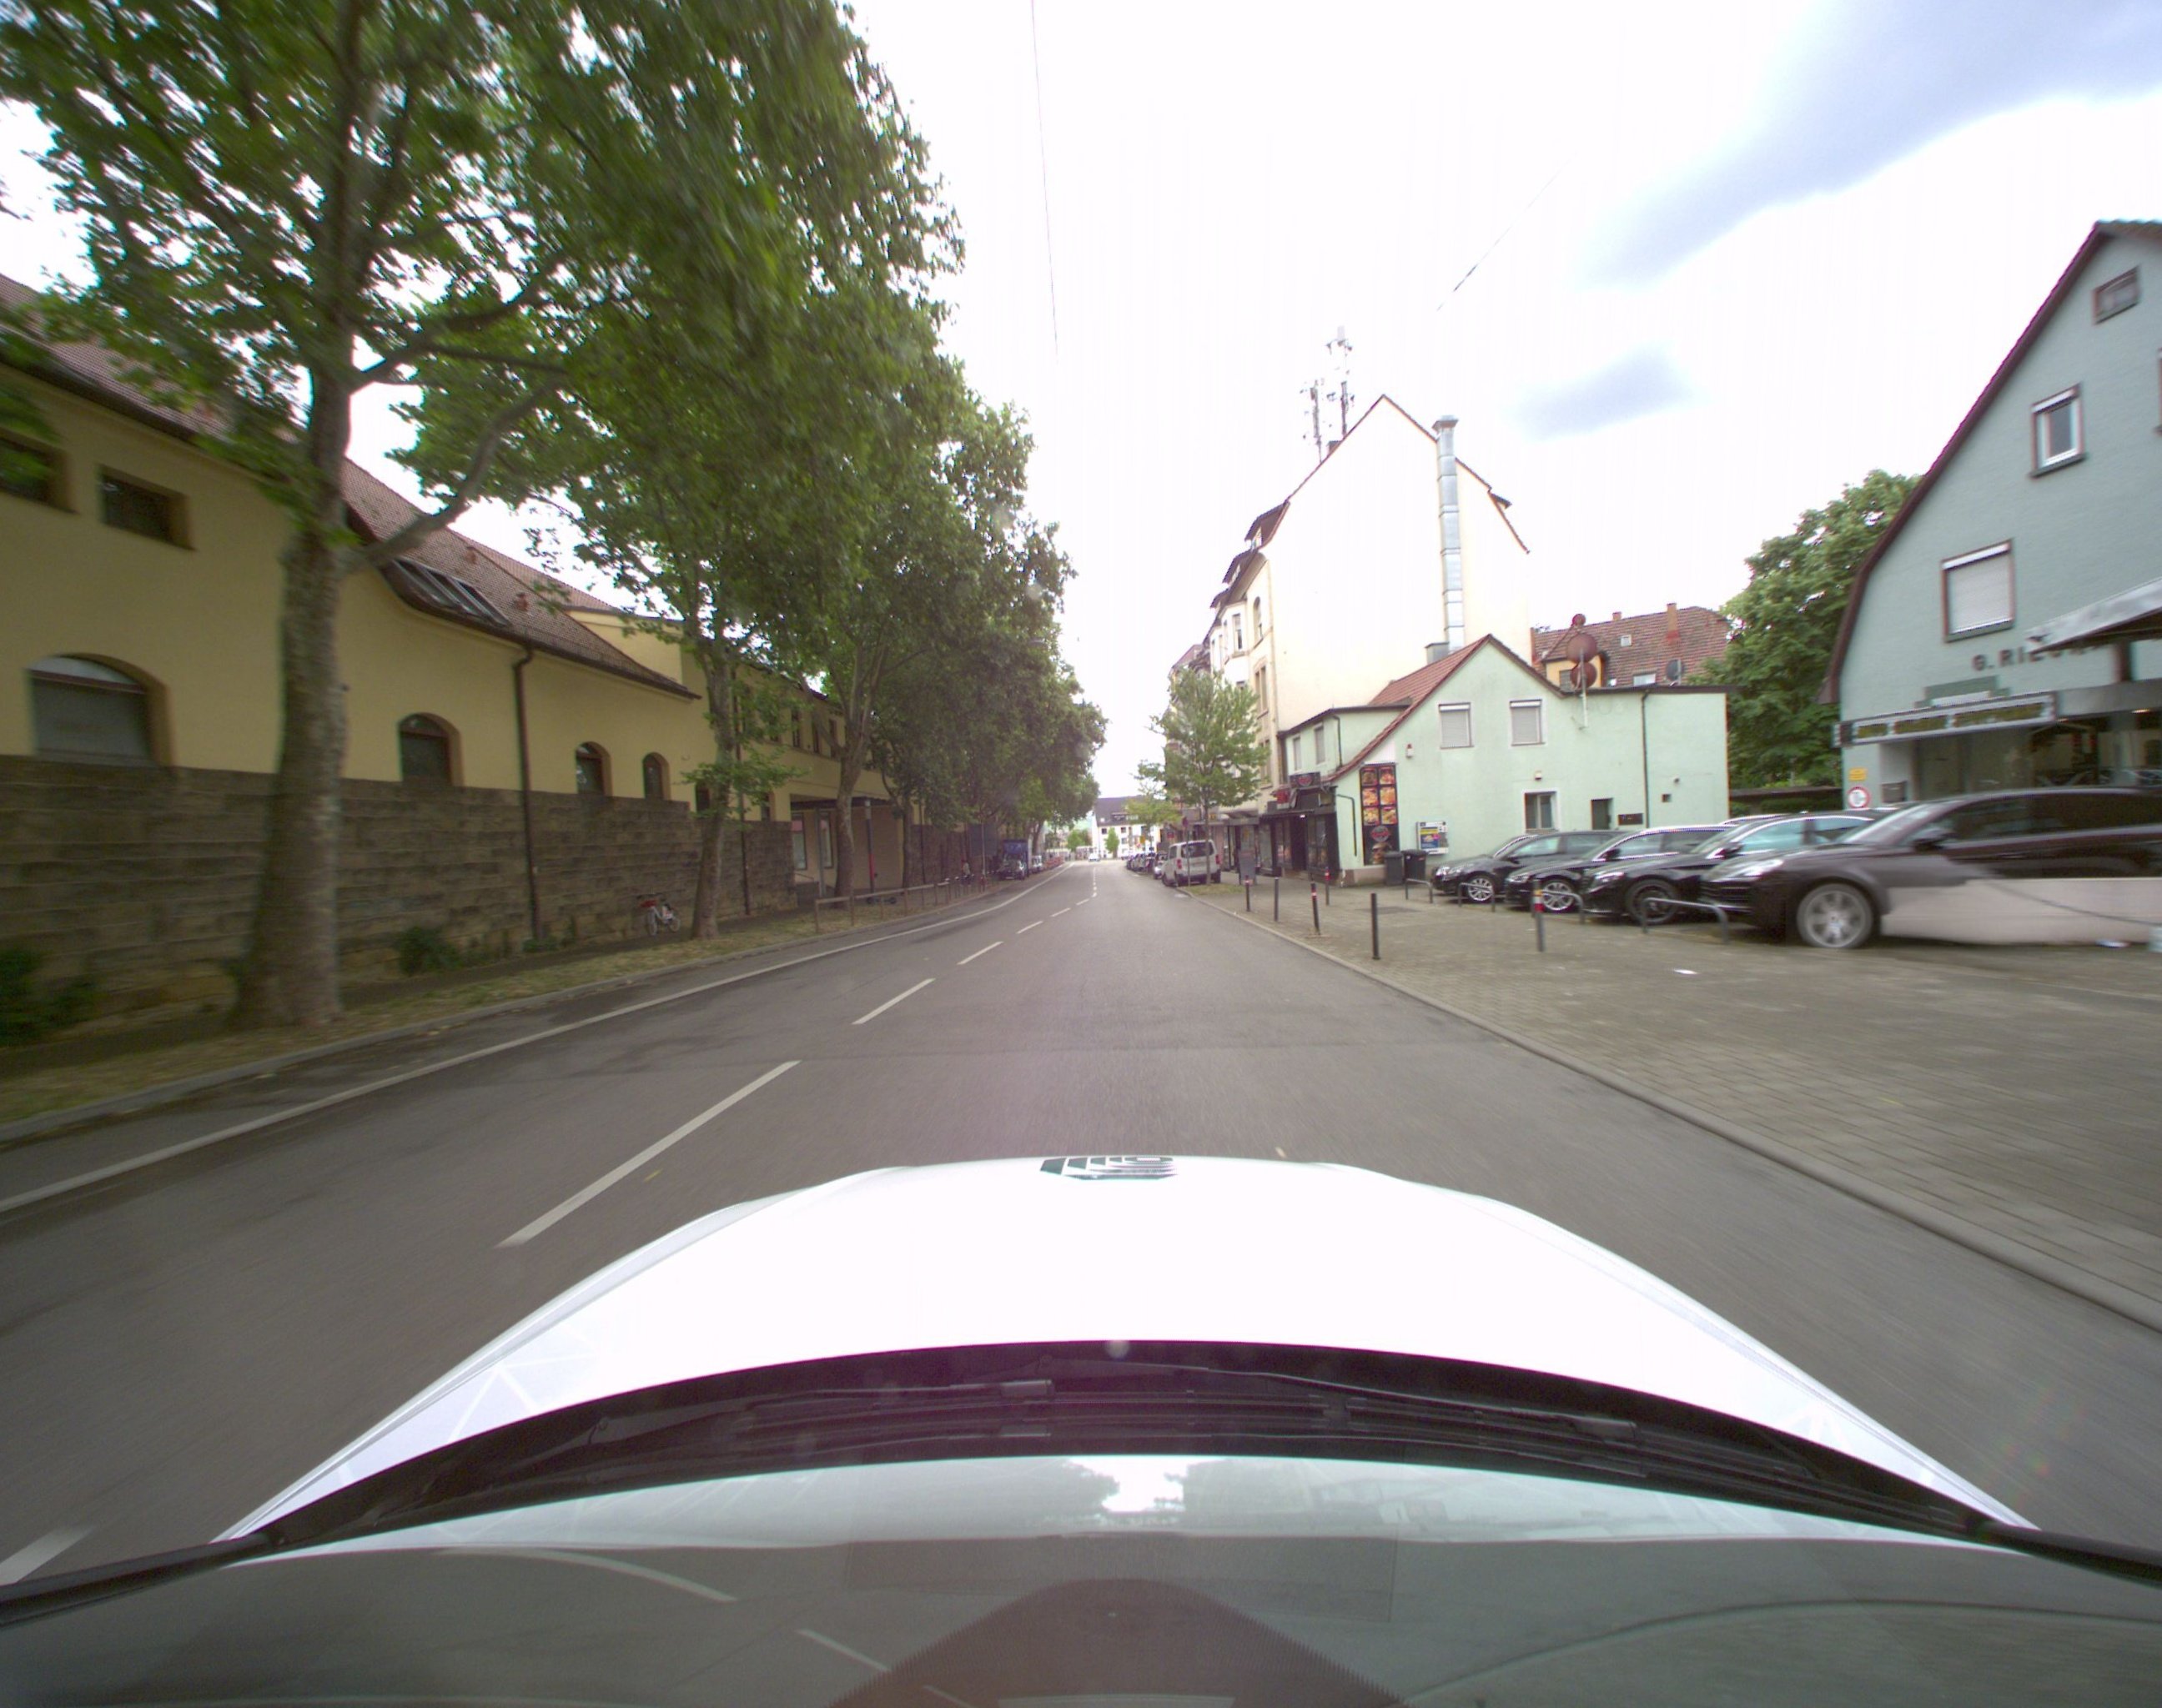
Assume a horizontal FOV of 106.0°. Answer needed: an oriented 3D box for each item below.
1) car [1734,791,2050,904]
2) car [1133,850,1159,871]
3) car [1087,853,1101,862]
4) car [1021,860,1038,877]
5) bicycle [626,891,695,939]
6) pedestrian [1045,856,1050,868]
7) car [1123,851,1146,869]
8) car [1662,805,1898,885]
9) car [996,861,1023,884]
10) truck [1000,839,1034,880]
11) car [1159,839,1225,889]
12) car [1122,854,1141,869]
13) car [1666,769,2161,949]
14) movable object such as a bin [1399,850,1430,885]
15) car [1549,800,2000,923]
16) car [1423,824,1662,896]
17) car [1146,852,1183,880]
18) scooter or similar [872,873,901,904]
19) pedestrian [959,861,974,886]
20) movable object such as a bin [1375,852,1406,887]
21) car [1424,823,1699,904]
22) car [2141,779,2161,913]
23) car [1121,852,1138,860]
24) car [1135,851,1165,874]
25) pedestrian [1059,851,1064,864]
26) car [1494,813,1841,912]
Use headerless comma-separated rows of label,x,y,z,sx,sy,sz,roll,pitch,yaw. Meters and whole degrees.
car,14.100,-0.098,14.534,1.707,1.665,3.890,-3,0,0
car,5.231,0.497,65.745,1.664,1.547,3.753,-3,0,-2
car,2.231,0.641,141.881,1.854,1.489,3.888,-3,0,8
car,-5.251,1.481,83.415,1.529,1.639,3.716,-3,0,-2
bicycle,-11.128,1.589,21.624,0.594,1.091,2.196,-1,0,2
pedestrian,-5.865,1.387,141.920,0.631,1.995,0.785,-3,0,2
car,5.017,0.542,76.810,1.664,1.547,3.753,-3,0,-2
car,16.442,-0.164,19.395,1.721,1.665,3.859,-3,0,-24
car,-5.464,1.376,62.684,1.830,1.578,3.753,-3,0,-2
truck,-5.565,0.451,72.088,2.224,3.346,7.448,-3,0,0
car,4.814,0.408,36.039,1.988,1.935,4.915,-3,0,-2
car,5.545,0.785,89.637,1.664,1.547,3.753,-3,0,-2
car,10.088,0.077,9.589,4.856,1.673,2.012,-5,-1,28
movable object such as a bin,10.477,0.422,25.612,0.695,1.041,0.645,-3,0,2
car,9.974,0.167,12.380,4.856,1.540,2.013,-3,0,29
car,11.164,0.151,20.153,4.860,1.469,1.939,-3,0,21
car,5.014,0.681,49.252,1.664,1.547,3.753,-3,0,-2
scooter or similar,-7.894,1.379,33.063,1.028,1.184,0.490,-3,0,-9
pedestrian,-7.158,1.208,51.074,0.677,1.536,0.605,-3,0,-32
movable object such as a bin,9.735,0.473,25.626,0.695,1.041,0.645,-3,0,2
car,10.239,0.223,17.772,4.856,1.469,1.941,-3,0,27
car,14.214,-0.142,8.306,1.707,1.665,3.890,-3,0,0
car,9.640,0.415,160.725,1.661,1.424,4.201,-3,0,29
car,5.020,0.595,59.355,1.664,1.547,3.753,-3,0,-2
pedestrian,-3.196,0.605,135.206,0.631,2.013,0.785,-3,0,2
car,10.374,0.189,14.964,4.857,1.493,1.866,-3,0,26
